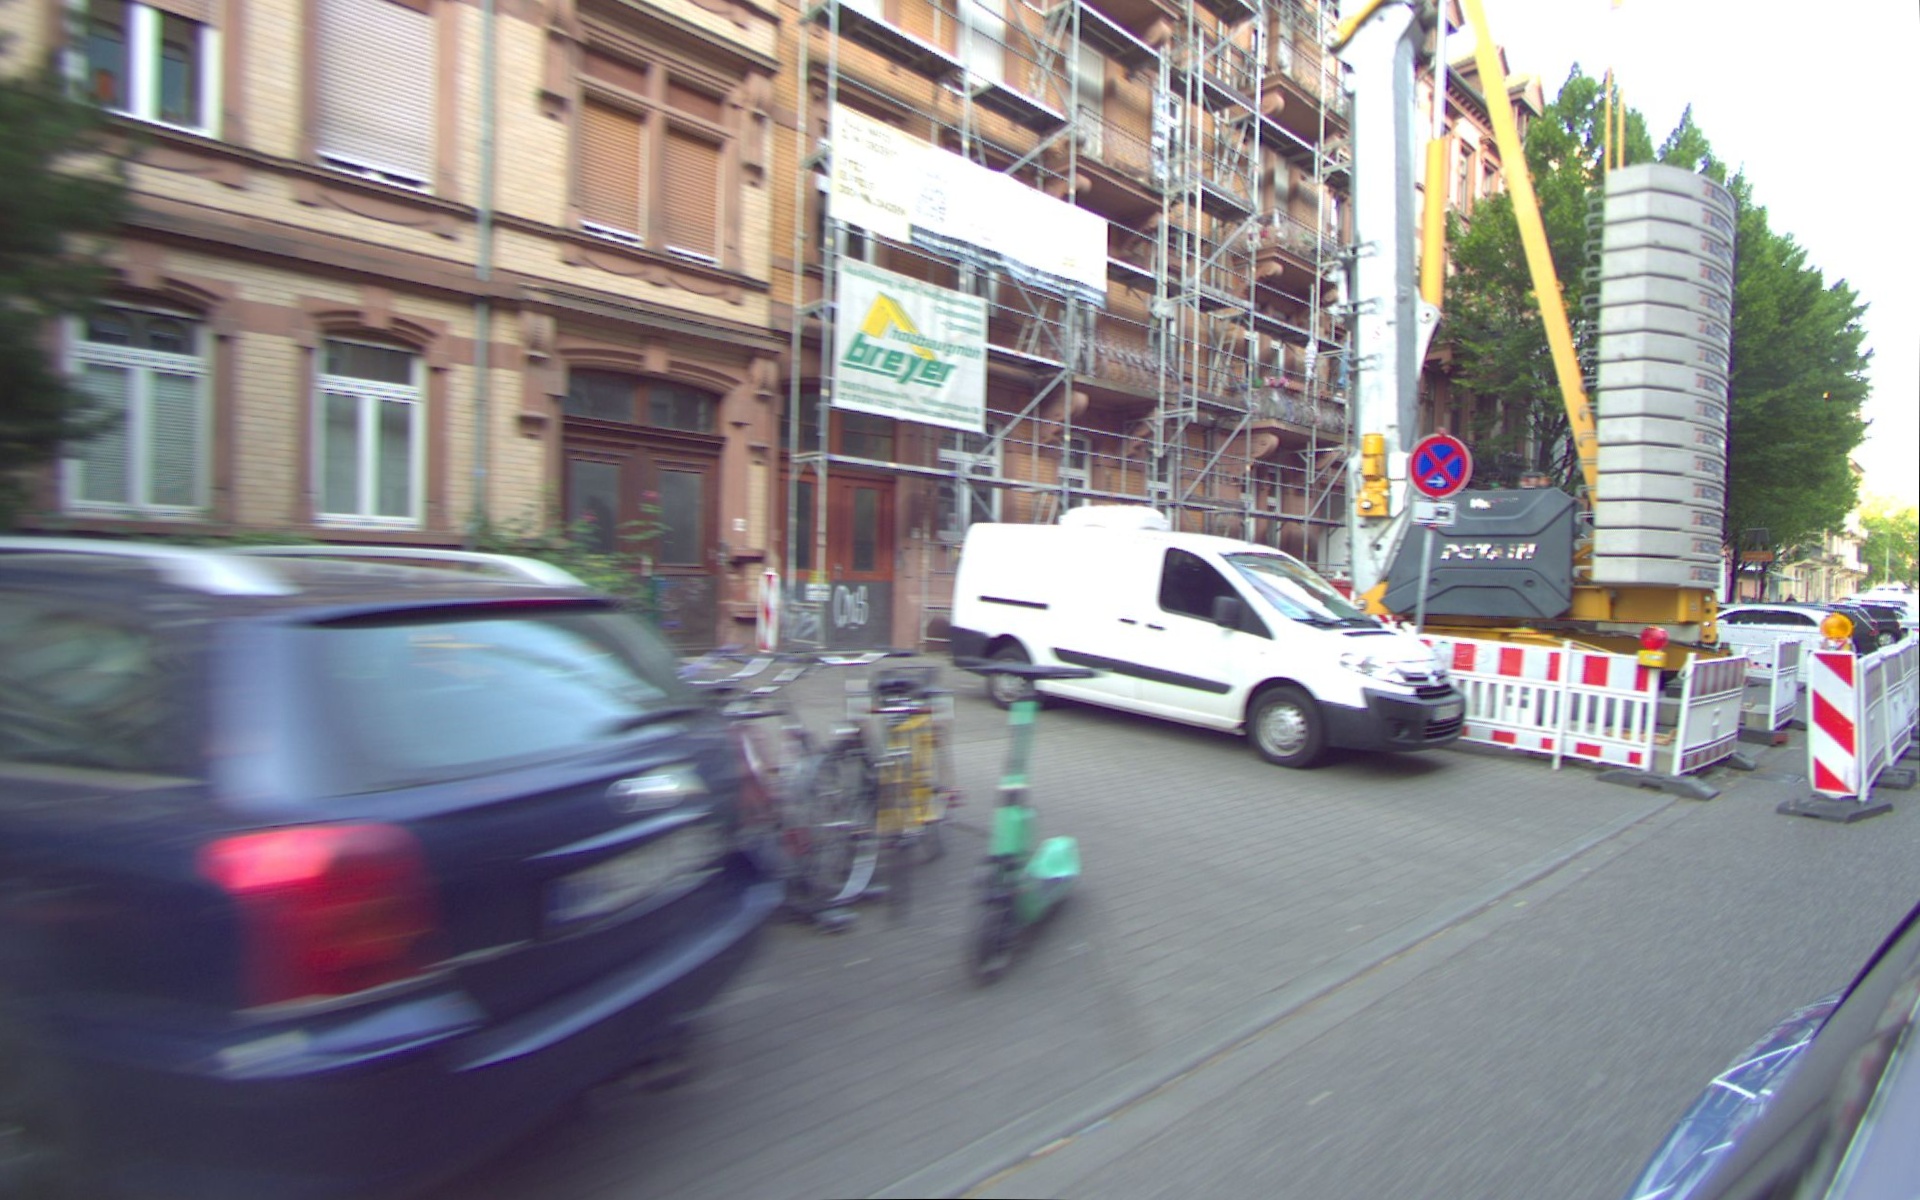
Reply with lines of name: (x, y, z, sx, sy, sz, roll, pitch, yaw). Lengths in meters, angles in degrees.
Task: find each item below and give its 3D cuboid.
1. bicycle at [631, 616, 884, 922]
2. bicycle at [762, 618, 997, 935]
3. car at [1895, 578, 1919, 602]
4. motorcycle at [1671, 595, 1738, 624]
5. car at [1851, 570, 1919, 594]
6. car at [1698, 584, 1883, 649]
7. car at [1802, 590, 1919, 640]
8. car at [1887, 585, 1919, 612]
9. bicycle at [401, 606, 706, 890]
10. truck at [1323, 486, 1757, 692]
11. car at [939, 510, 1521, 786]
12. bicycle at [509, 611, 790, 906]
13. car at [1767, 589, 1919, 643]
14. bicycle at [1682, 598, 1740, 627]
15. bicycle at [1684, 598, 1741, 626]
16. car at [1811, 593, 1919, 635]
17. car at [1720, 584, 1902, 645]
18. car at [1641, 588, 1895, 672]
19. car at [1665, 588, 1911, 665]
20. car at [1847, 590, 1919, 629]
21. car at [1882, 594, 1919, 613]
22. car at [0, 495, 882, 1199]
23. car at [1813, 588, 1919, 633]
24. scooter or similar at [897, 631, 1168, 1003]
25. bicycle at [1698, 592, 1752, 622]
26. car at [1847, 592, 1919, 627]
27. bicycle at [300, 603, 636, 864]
bicycle: (-0.898, 0.693, 4.997, 0.489, 1.150, 1.807, 3, 1, 13)
bicycle: (-0.292, 0.700, 4.851, 0.489, 1.150, 1.805, 3, 1, 15)
car: (94.433, -0.898, 98.876, 4.129, 2.286, 1.672, 3, 3, 13)
motorcycle: (29.333, 0.360, 39.904, 0.578, 0.937, 1.992, 2, 4, -29)
car: (69.470, -1.335, 75.666, 3.787, 1.537, 1.668, 4, 3, 19)
car: (23.219, 0.418, 28.455, 3.587, 1.536, 1.614, 4, 2, 20)
car: (34.226, 0.562, 37.794, 3.784, 1.584, 1.669, 3, 3, 18)
car: (88.409, -0.086, 93.155, 4.124, 2.320, 1.675, 3, 3, 9)
bicycle: (-1.978, 0.634, 5.231, 0.489, 1.150, 1.807, 3, 1, 13)
truck: (10.319, -0.192, 18.648, 2.479, 3.115, 6.494, 0, 0, -39)
car: (2.255, 0.198, 9.816, 1.867, 1.979, 5.181, 2, 2, -43)
bicycle: (-1.454, 0.664, 5.113, 0.489, 1.150, 1.807, 3, 1, 13)
car: (31.802, 0.543, 36.520, 3.797, 1.584, 1.663, 4, 3, 26)
bicycle: (30.023, 0.488, 40.463, 1.764, 0.937, 0.538, 7, 5, 41)
bicycle: (30.405, 0.482, 40.905, 1.764, 0.937, 0.538, 7, 5, 41)
car: (37.708, 0.580, 41.547, 3.784, 1.447, 1.669, 3, 3, 18)
car: (25.477, 0.389, 30.440, 3.746, 1.536, 1.643, 3, 2, 15)
car: (17.674, 0.608, 22.344, 3.937, 1.506, 1.678, 3, 2, 14)
car: (19.782, 0.592, 24.389, 4.106, 1.506, 1.825, 3, 2, 12)
car: (42.317, 0.463, 45.067, 3.780, 1.537, 1.671, 3, 3, 15)
car: (85.998, 0.337, 91.234, 3.777, 1.537, 1.672, 3, 3, 13)
car: (-2.361, 0.535, 3.058, 3.822, 1.535, 1.835, 2, 1, 22)
car: (39.499, 0.452, 43.558, 3.788, 1.668, 1.667, 4, 3, 20)
scooter or similar: (0.375, 0.765, 4.248, 0.649, 1.164, 1.473, 3, 2, 23)
bicycle: (33.273, 0.307, 44.045, 1.764, 1.113, 0.538, 7, 5, 41)
car: (47.379, 0.518, 50.917, 3.807, 1.537, 1.659, 4, 4, 32)
bicycle: (-2.573, 0.610, 5.553, 0.490, 1.150, 1.802, 3, 1, 19)
